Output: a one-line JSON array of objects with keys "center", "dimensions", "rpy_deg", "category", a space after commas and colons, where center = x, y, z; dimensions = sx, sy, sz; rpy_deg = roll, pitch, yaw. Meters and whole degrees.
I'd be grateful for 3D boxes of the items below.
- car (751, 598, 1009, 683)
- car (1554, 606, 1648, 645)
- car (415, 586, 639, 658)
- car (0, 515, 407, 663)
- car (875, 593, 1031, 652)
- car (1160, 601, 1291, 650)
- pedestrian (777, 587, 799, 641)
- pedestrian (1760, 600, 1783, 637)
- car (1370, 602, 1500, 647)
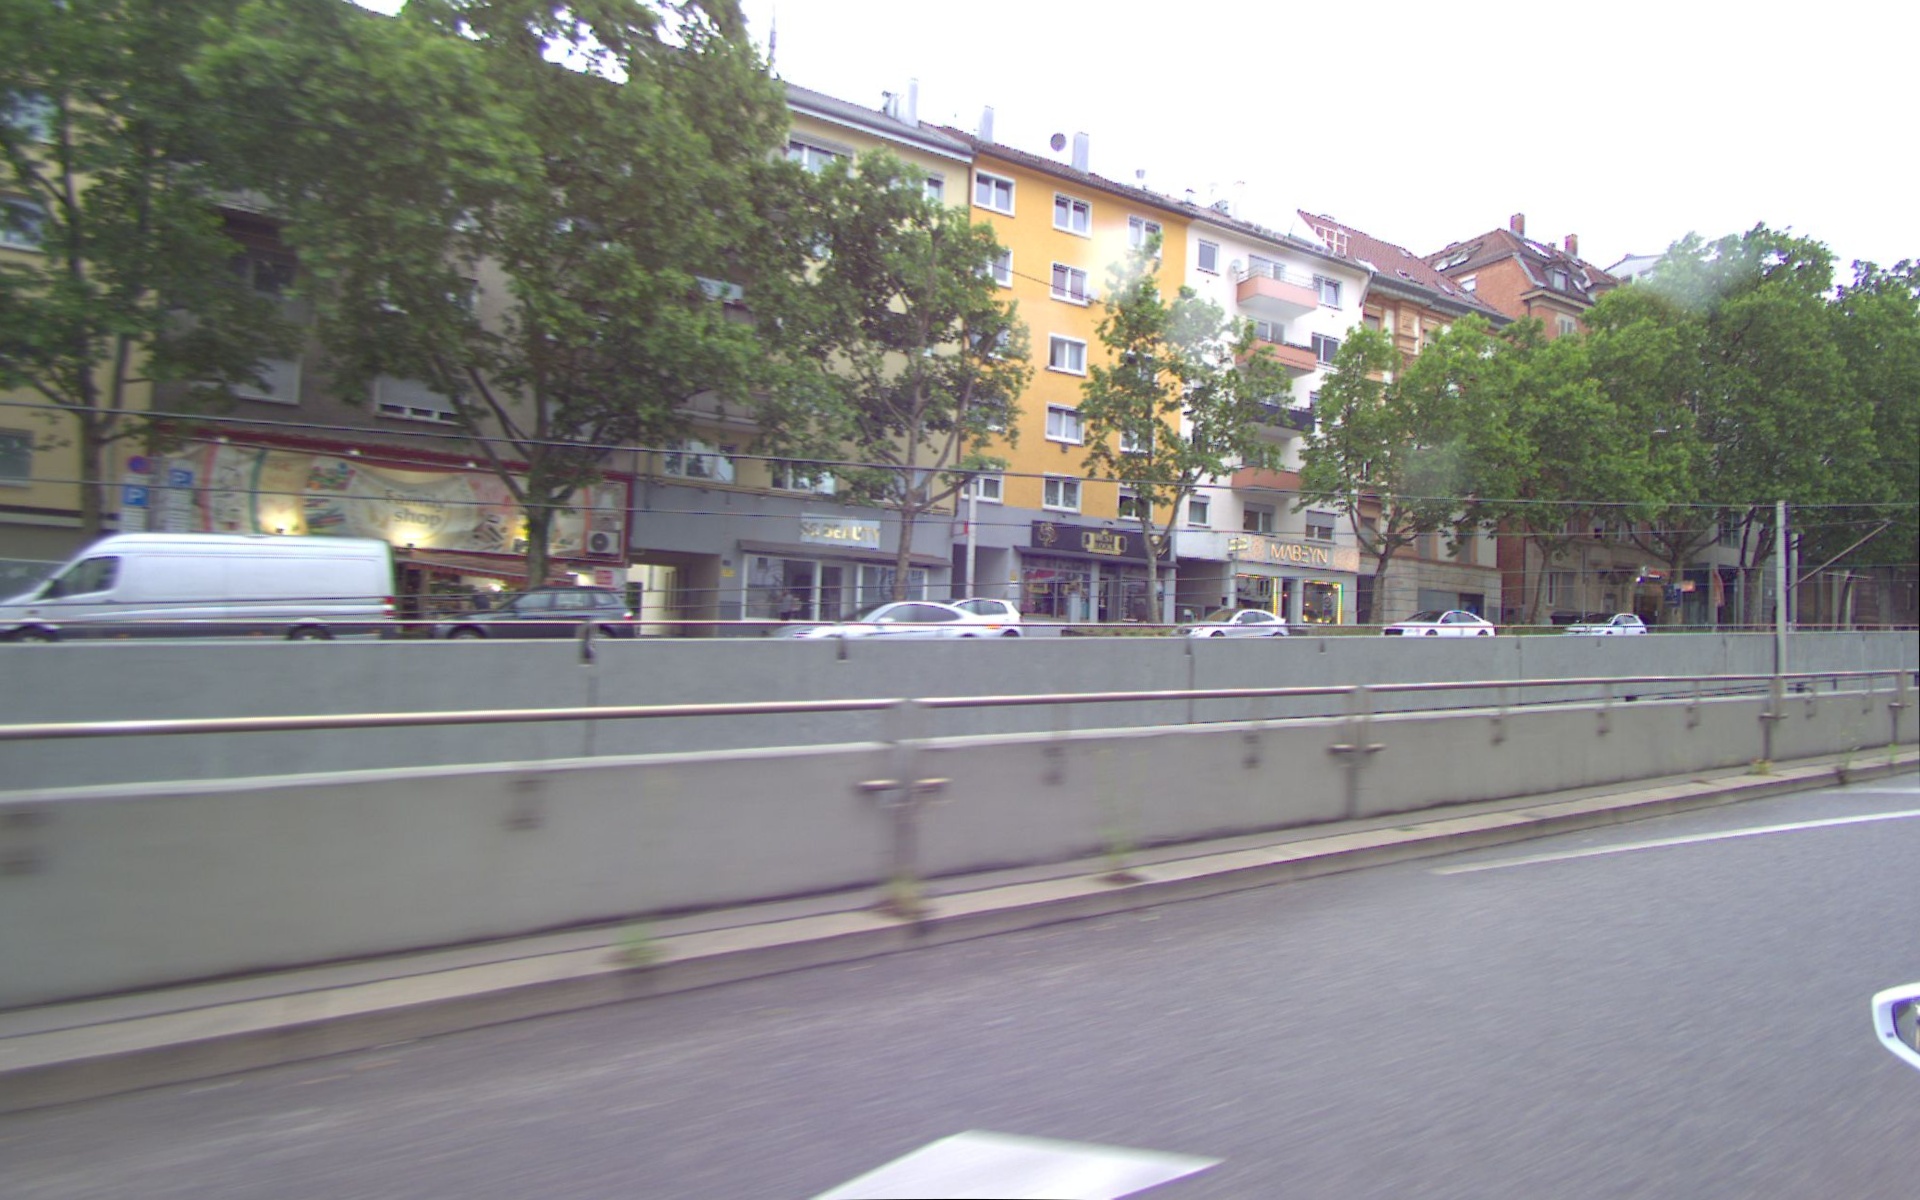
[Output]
[{"center": [-1.583, 0.772, 20.338], "dimensions": [4.822, 1.530, 2.018], "rpy_deg": [1, 0, -29], "category": "car"}, {"center": [28.008, 1.112, 43.890], "dimensions": [4.063, 1.633, 1.786], "rpy_deg": [1, 0, -30], "category": "car"}, {"center": [-10.013, 0.504, 23.308], "dimensions": [4.615, 1.530, 1.786], "rpy_deg": [1, 0, -29], "category": "car"}, {"center": [-15.365, -0.162, 20.752], "dimensions": [6.847, 2.698, 2.442], "rpy_deg": [1, 0, -29], "category": "car"}, {"center": [-0.184, 0.648, 29.015], "dimensions": [4.156, 1.592, 1.786], "rpy_deg": [1, 0, -29], "category": "car"}, {"center": [8.871, 0.841, 33.562], "dimensions": [4.156, 1.530, 1.786], "rpy_deg": [1, 0, -29], "category": "car"}, {"center": [-5.808, 0.479, 33.917], "dimensions": [0.612, 1.772, 0.522], "rpy_deg": [2, 2, -22], "category": "pedestrian"}, {"center": [45.954, 1.025, 56.891], "dimensions": [0.923, 2.040, 0.666], "rpy_deg": [2, 0, -27], "category": "pedestrian"}, {"center": [18.310, 0.945, 38.683], "dimensions": [5.136, 1.622, 1.918], "rpy_deg": [1, 0, -30], "category": "car"}]
